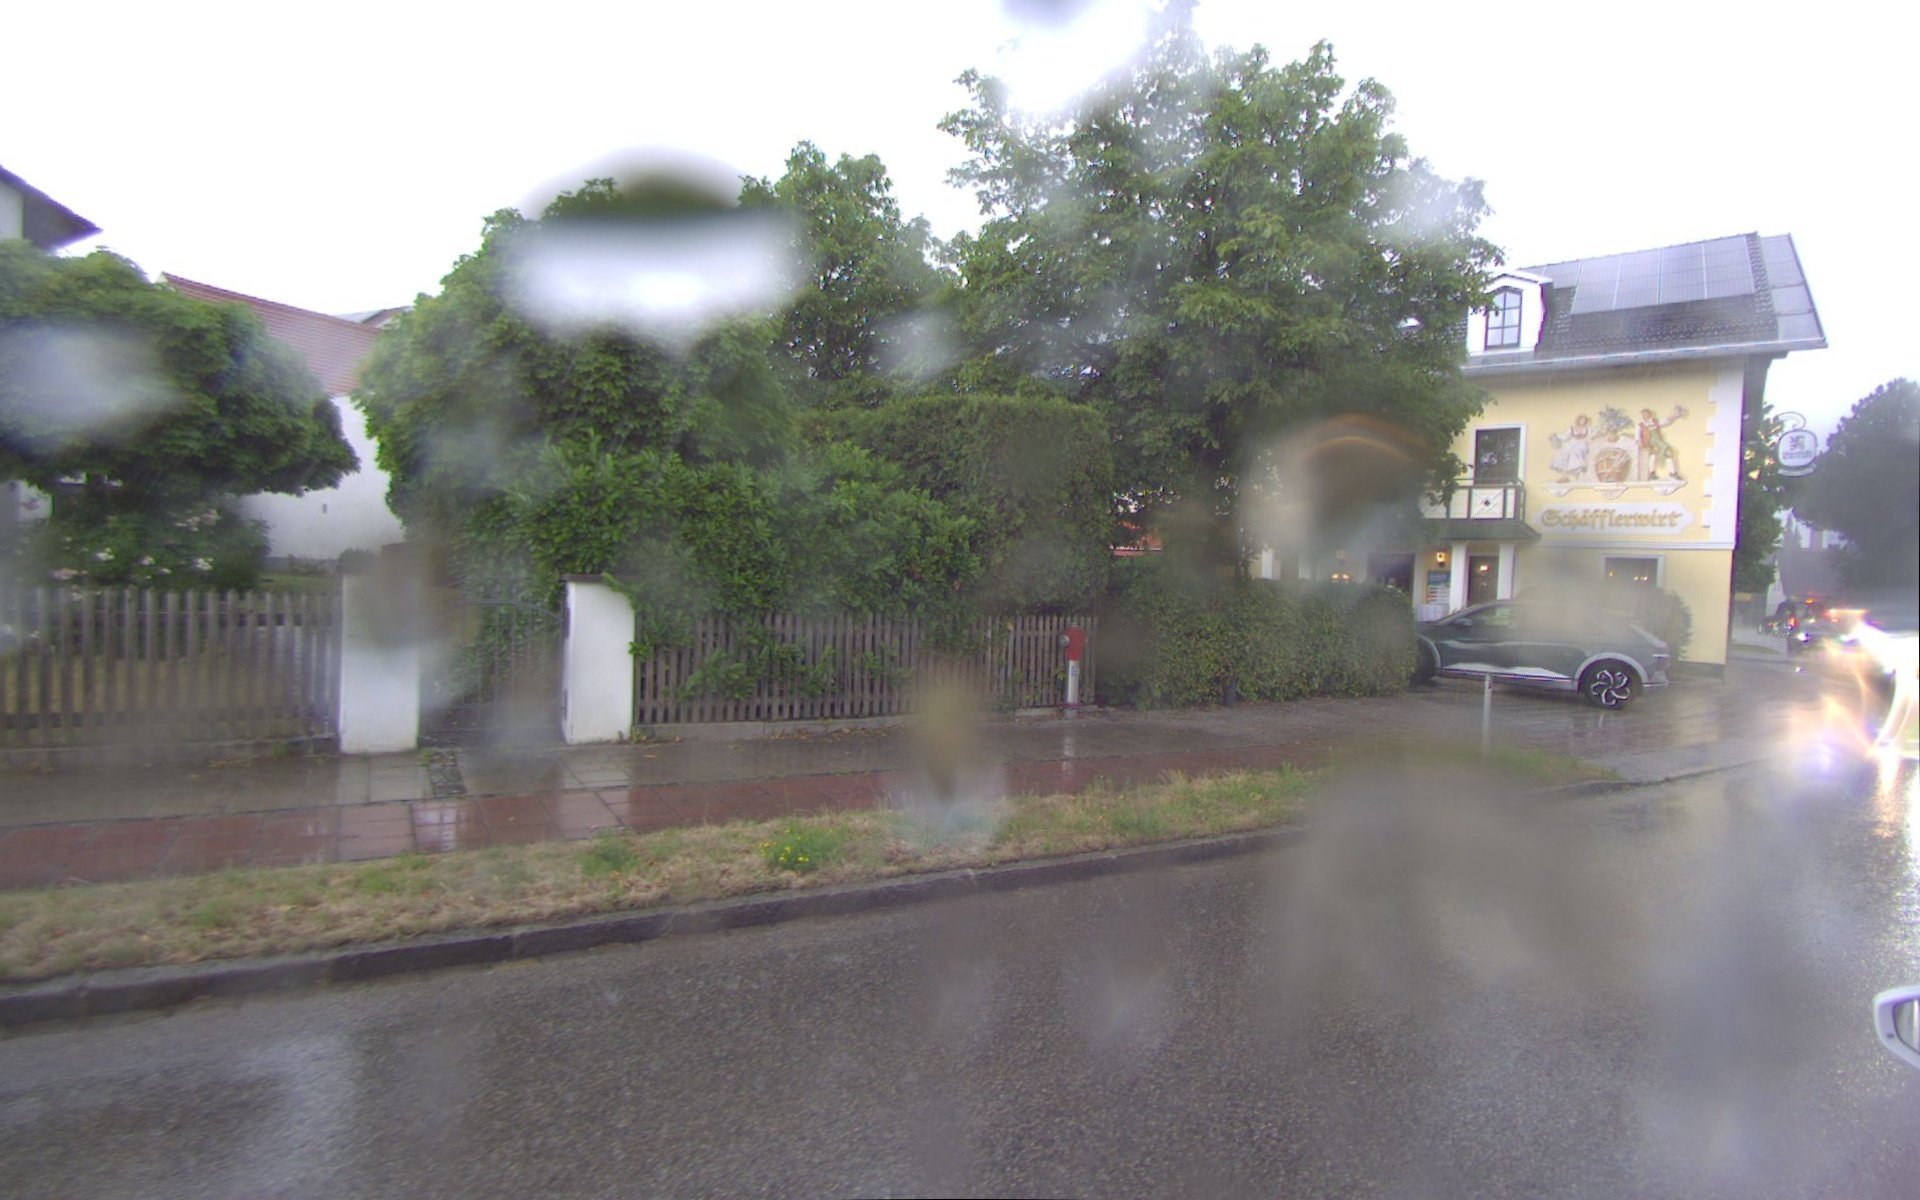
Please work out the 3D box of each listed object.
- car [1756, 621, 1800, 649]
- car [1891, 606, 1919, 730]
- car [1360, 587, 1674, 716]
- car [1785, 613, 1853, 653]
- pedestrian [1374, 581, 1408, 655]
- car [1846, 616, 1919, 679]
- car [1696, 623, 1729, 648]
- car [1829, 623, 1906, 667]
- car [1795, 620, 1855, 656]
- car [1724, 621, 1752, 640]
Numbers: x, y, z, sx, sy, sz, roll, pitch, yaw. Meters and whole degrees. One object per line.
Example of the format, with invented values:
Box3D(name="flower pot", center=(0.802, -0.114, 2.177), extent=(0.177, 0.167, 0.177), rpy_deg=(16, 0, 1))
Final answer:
Box3D(name="car", center=(65.539, 2.765, 80.542), extent=(2.139, 1.925, 4.999), rpy_deg=(3, 2, 34))
Box3D(name="car", center=(15.592, 1.011, 15.316), extent=(1.900, 1.767, 4.170), rpy_deg=(0, -1, 41))
Box3D(name="car", center=(9.433, 0.765, 17.259), extent=(4.413, 1.589, 1.834), rpy_deg=(6, 5, 33))
Box3D(name="car", center=(37.844, 1.437, 44.320), extent=(1.563, 1.631, 3.533), rpy_deg=(1, -1, 28))
Box3D(name="pedestrian", center=(10.201, 0.420, 23.784), extent=(0.484, 1.712, 0.552), rpy_deg=(6, 4, 38))
Box3D(name="car", center=(27.318, 1.360, 29.207), extent=(1.729, 1.700, 3.990), rpy_deg=(0, -1, 33))
Box3D(name="car", center=(62.302, 2.961, 83.185), extent=(1.825, 1.997, 4.690), rpy_deg=(1, -1, 33))
Box3D(name="car", center=(46.991, 2.274, 52.126), extent=(2.139, 1.925, 4.999), rpy_deg=(3, 2, 34))
Box3D(name="car", center=(53.416, 2.320, 62.131), extent=(2.139, 1.925, 4.999), rpy_deg=(3, 2, 34))
Box3D(name="car", center=(89.013, 3.502, 114.946), extent=(2.139, 1.925, 4.999), rpy_deg=(3, 2, 34))
